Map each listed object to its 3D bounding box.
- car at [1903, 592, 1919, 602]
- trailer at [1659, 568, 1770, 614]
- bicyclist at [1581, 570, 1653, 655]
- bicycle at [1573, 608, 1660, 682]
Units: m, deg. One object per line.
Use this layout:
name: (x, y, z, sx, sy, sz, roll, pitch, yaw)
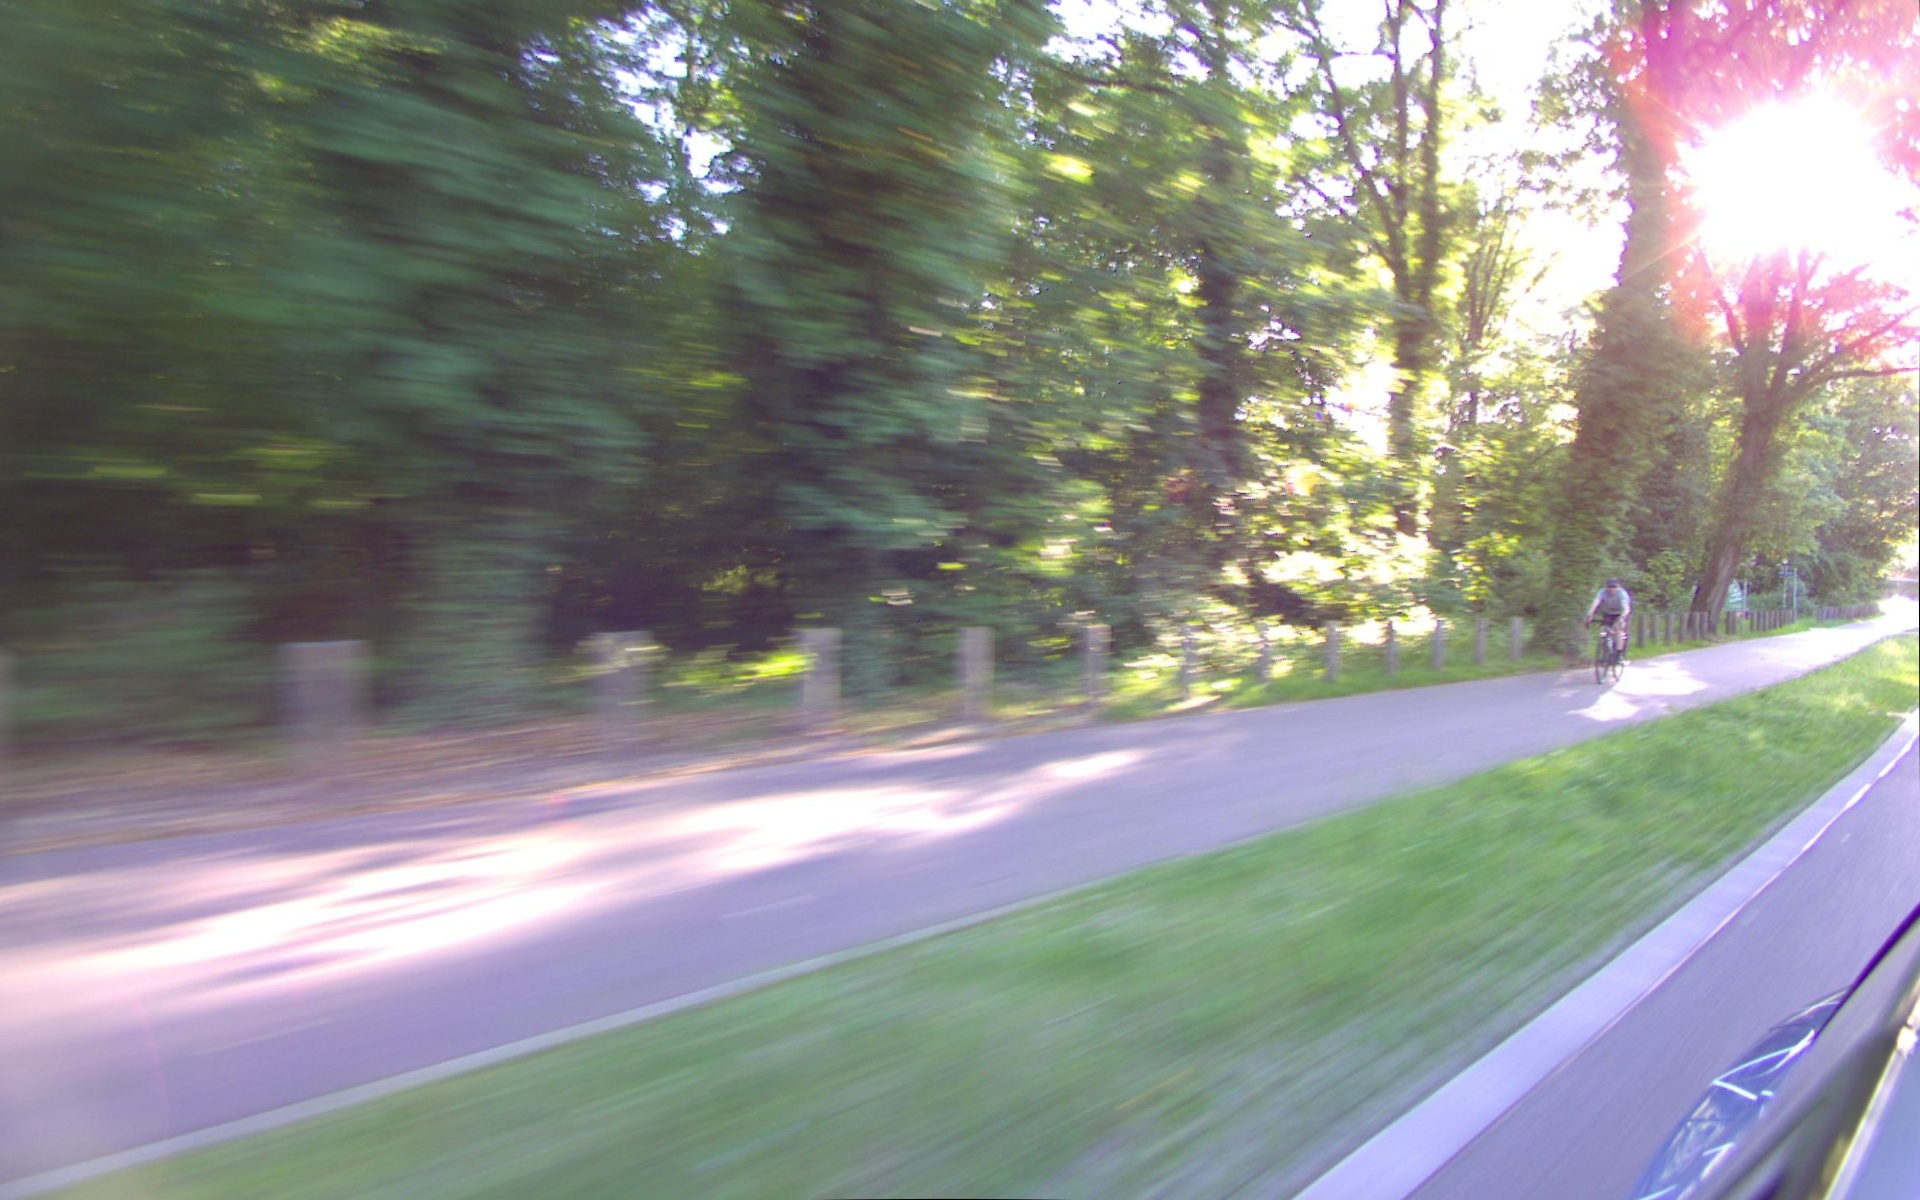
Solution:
car: (168.953, -0.577, 179.658, 1.818, 1.704, 3.946, 3, 2, 38)
trailer: (36.385, -0.463, 48.970, 1.961, 2.046, 4.232, 1, 2, -3)
bicyclist: (10.490, 0.184, 16.159, 1.086, 1.304, 0.713, 0, 2, -44)
bicycle: (10.525, 0.681, 16.206, 2.019, 1.069, 0.713, 0, 2, -44)
